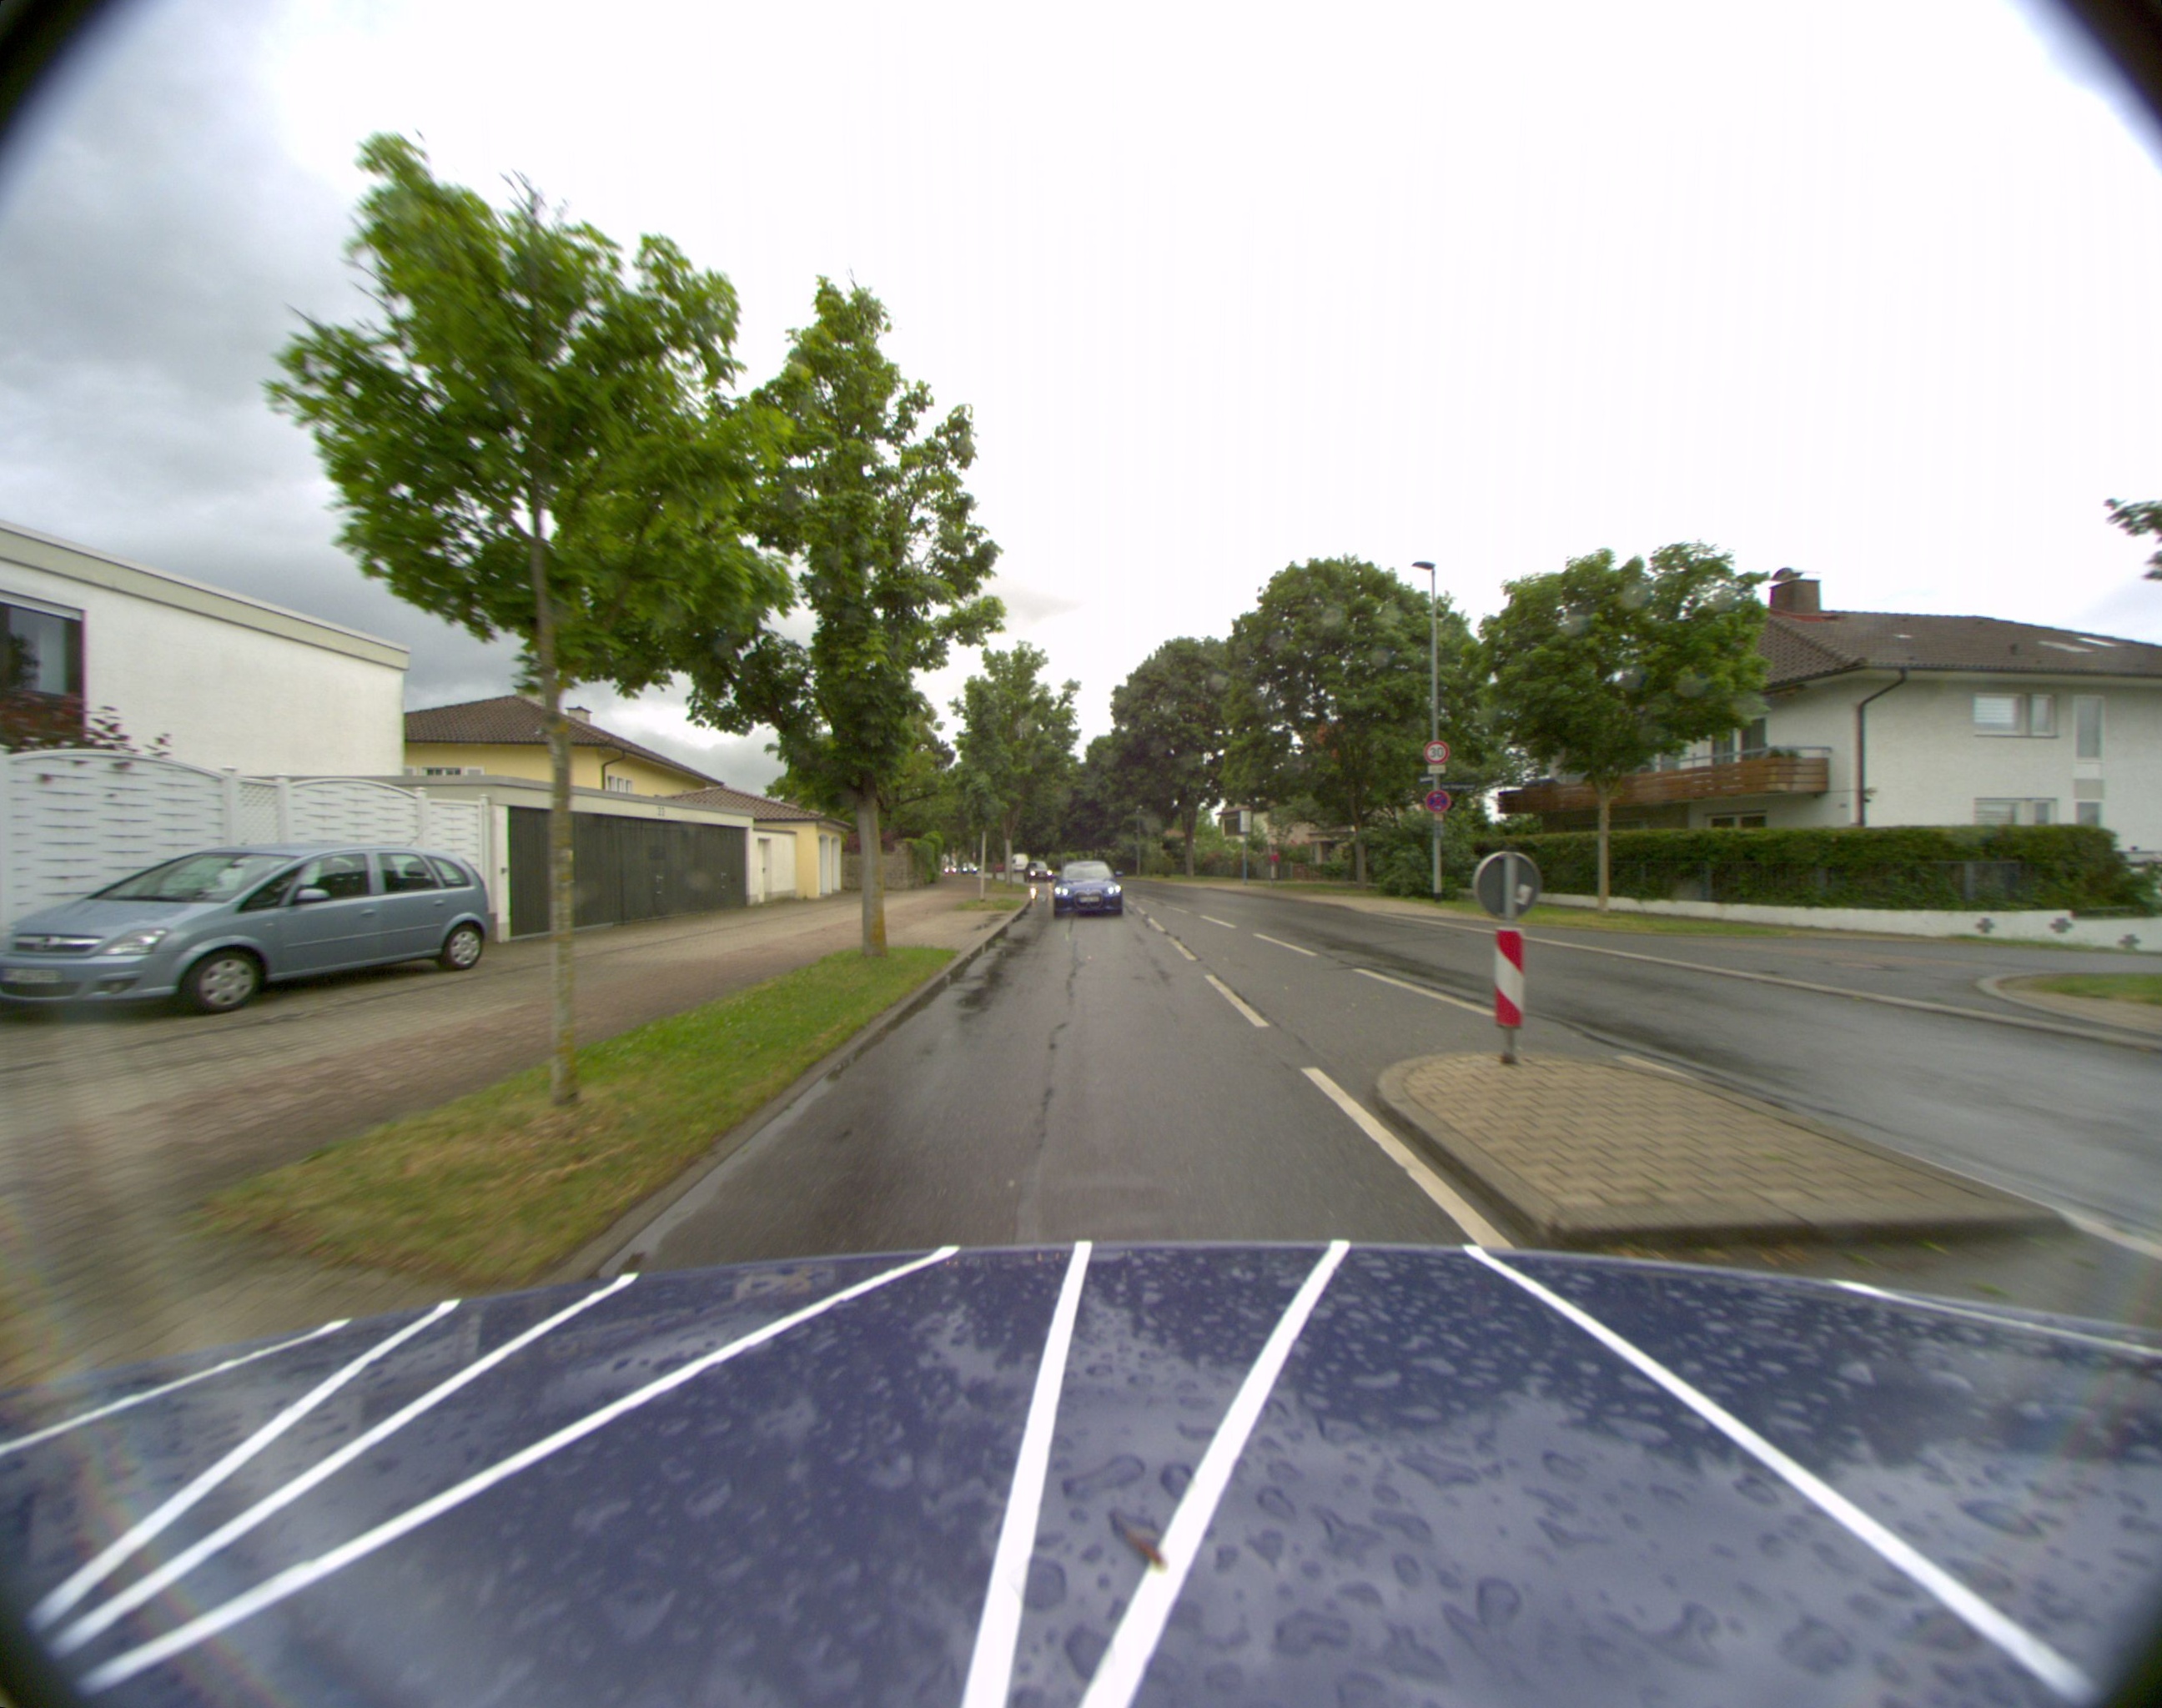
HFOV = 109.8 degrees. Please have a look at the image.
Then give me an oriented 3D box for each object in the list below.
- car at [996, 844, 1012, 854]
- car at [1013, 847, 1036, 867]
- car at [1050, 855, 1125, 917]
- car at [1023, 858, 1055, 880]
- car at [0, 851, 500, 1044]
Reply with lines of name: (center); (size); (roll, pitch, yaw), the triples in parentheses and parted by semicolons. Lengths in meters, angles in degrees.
car: (-12.318, -0.849, 121.980); (1.850, 1.457, 4.244); (-2, -1, -16)
car: (-7.521, 0.381, 100.518); (2.001, 2.546, 5.226); (-1, -1, -15)
car: (0.167, 0.885, 22.051); (1.896, 1.531, 4.000); (-3, -1, 0)
car: (-3.079, 1.085, 54.721); (1.658, 1.443, 3.997); (-3, -1, -12)
car: (-8.800, 0.769, 8.300); (1.748, 1.601, 4.000); (0, 0, 2)
